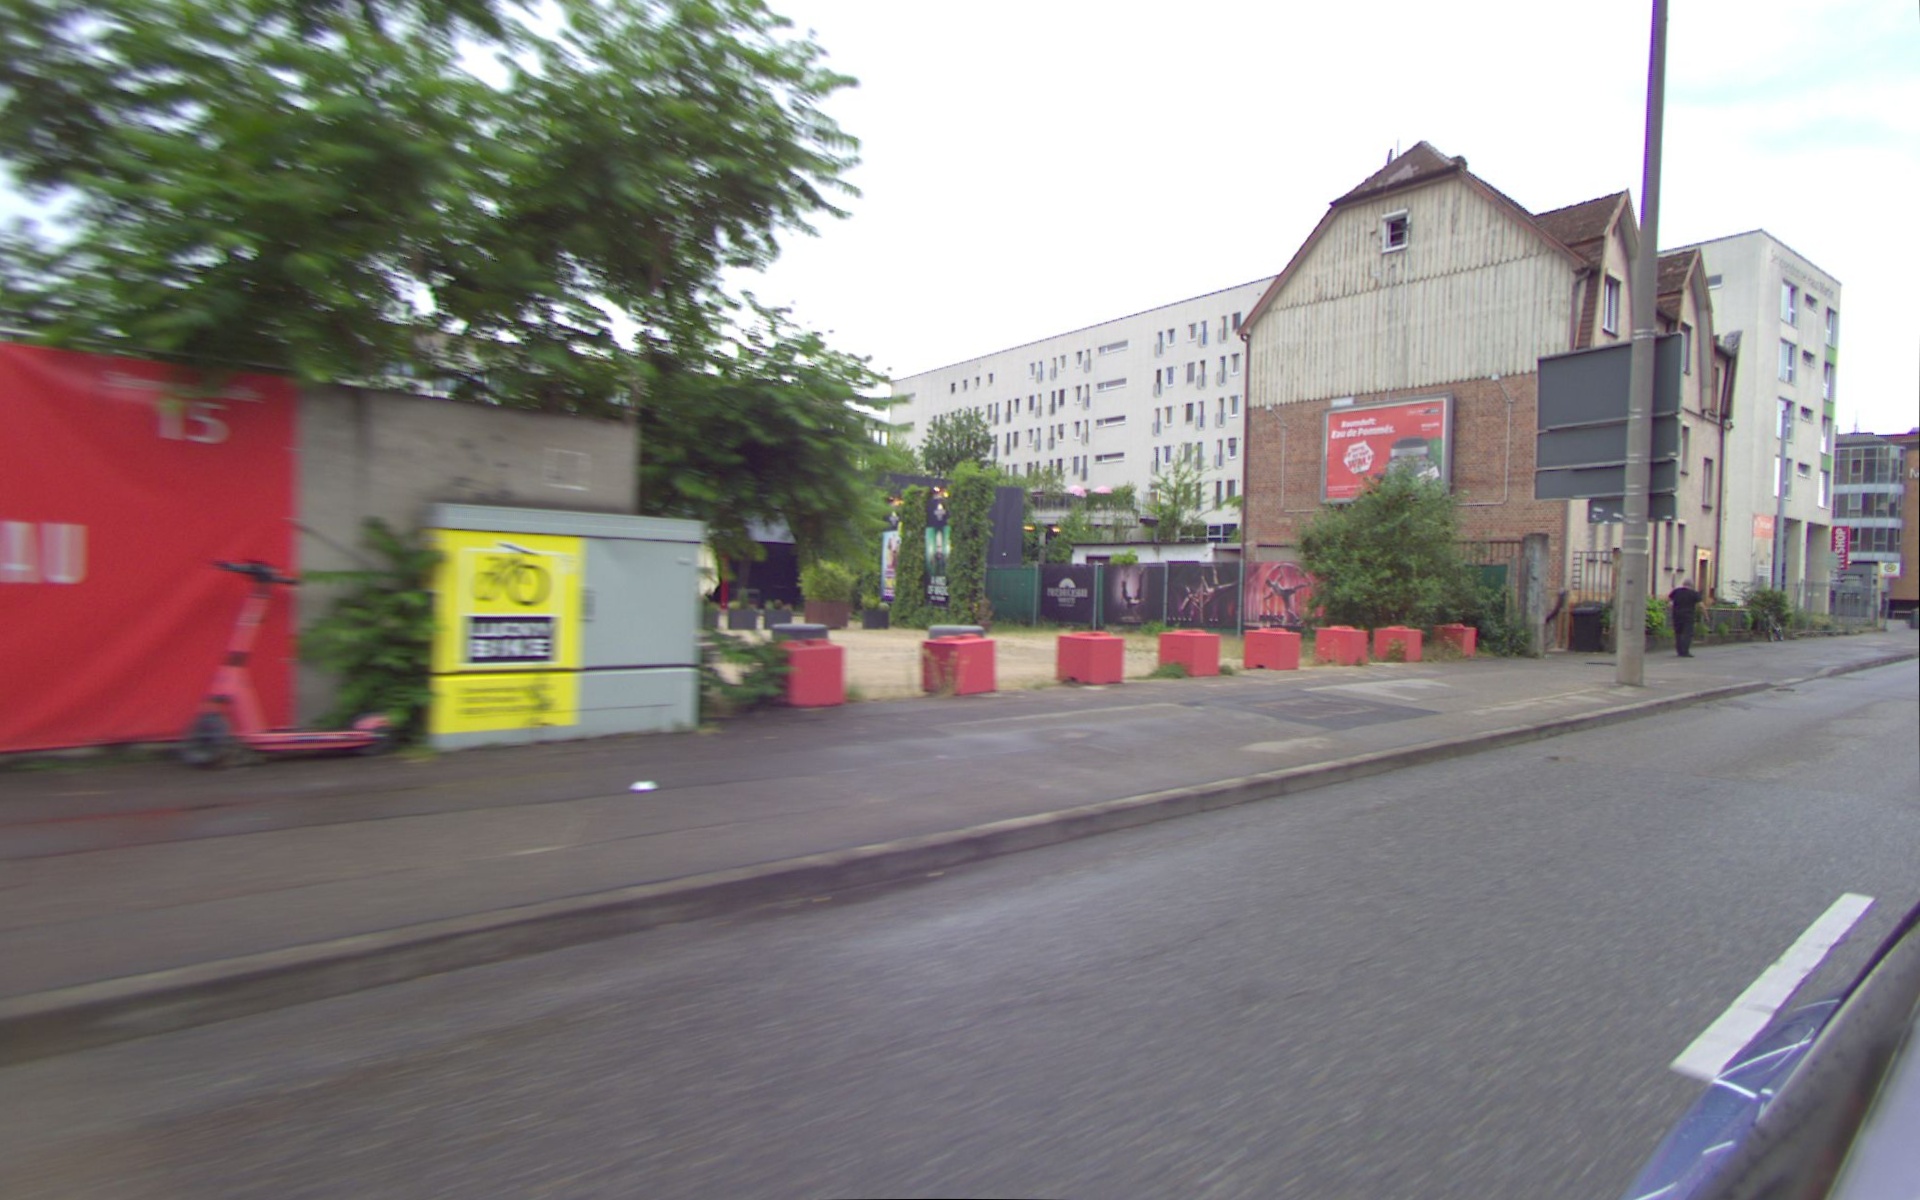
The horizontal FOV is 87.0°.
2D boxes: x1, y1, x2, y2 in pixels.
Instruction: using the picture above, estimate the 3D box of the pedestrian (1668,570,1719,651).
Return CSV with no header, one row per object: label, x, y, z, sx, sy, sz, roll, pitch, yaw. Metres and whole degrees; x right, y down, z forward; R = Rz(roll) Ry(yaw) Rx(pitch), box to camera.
pedestrian,16.612,0.229,22.926,0.909,1.786,0.757,0,1,38
